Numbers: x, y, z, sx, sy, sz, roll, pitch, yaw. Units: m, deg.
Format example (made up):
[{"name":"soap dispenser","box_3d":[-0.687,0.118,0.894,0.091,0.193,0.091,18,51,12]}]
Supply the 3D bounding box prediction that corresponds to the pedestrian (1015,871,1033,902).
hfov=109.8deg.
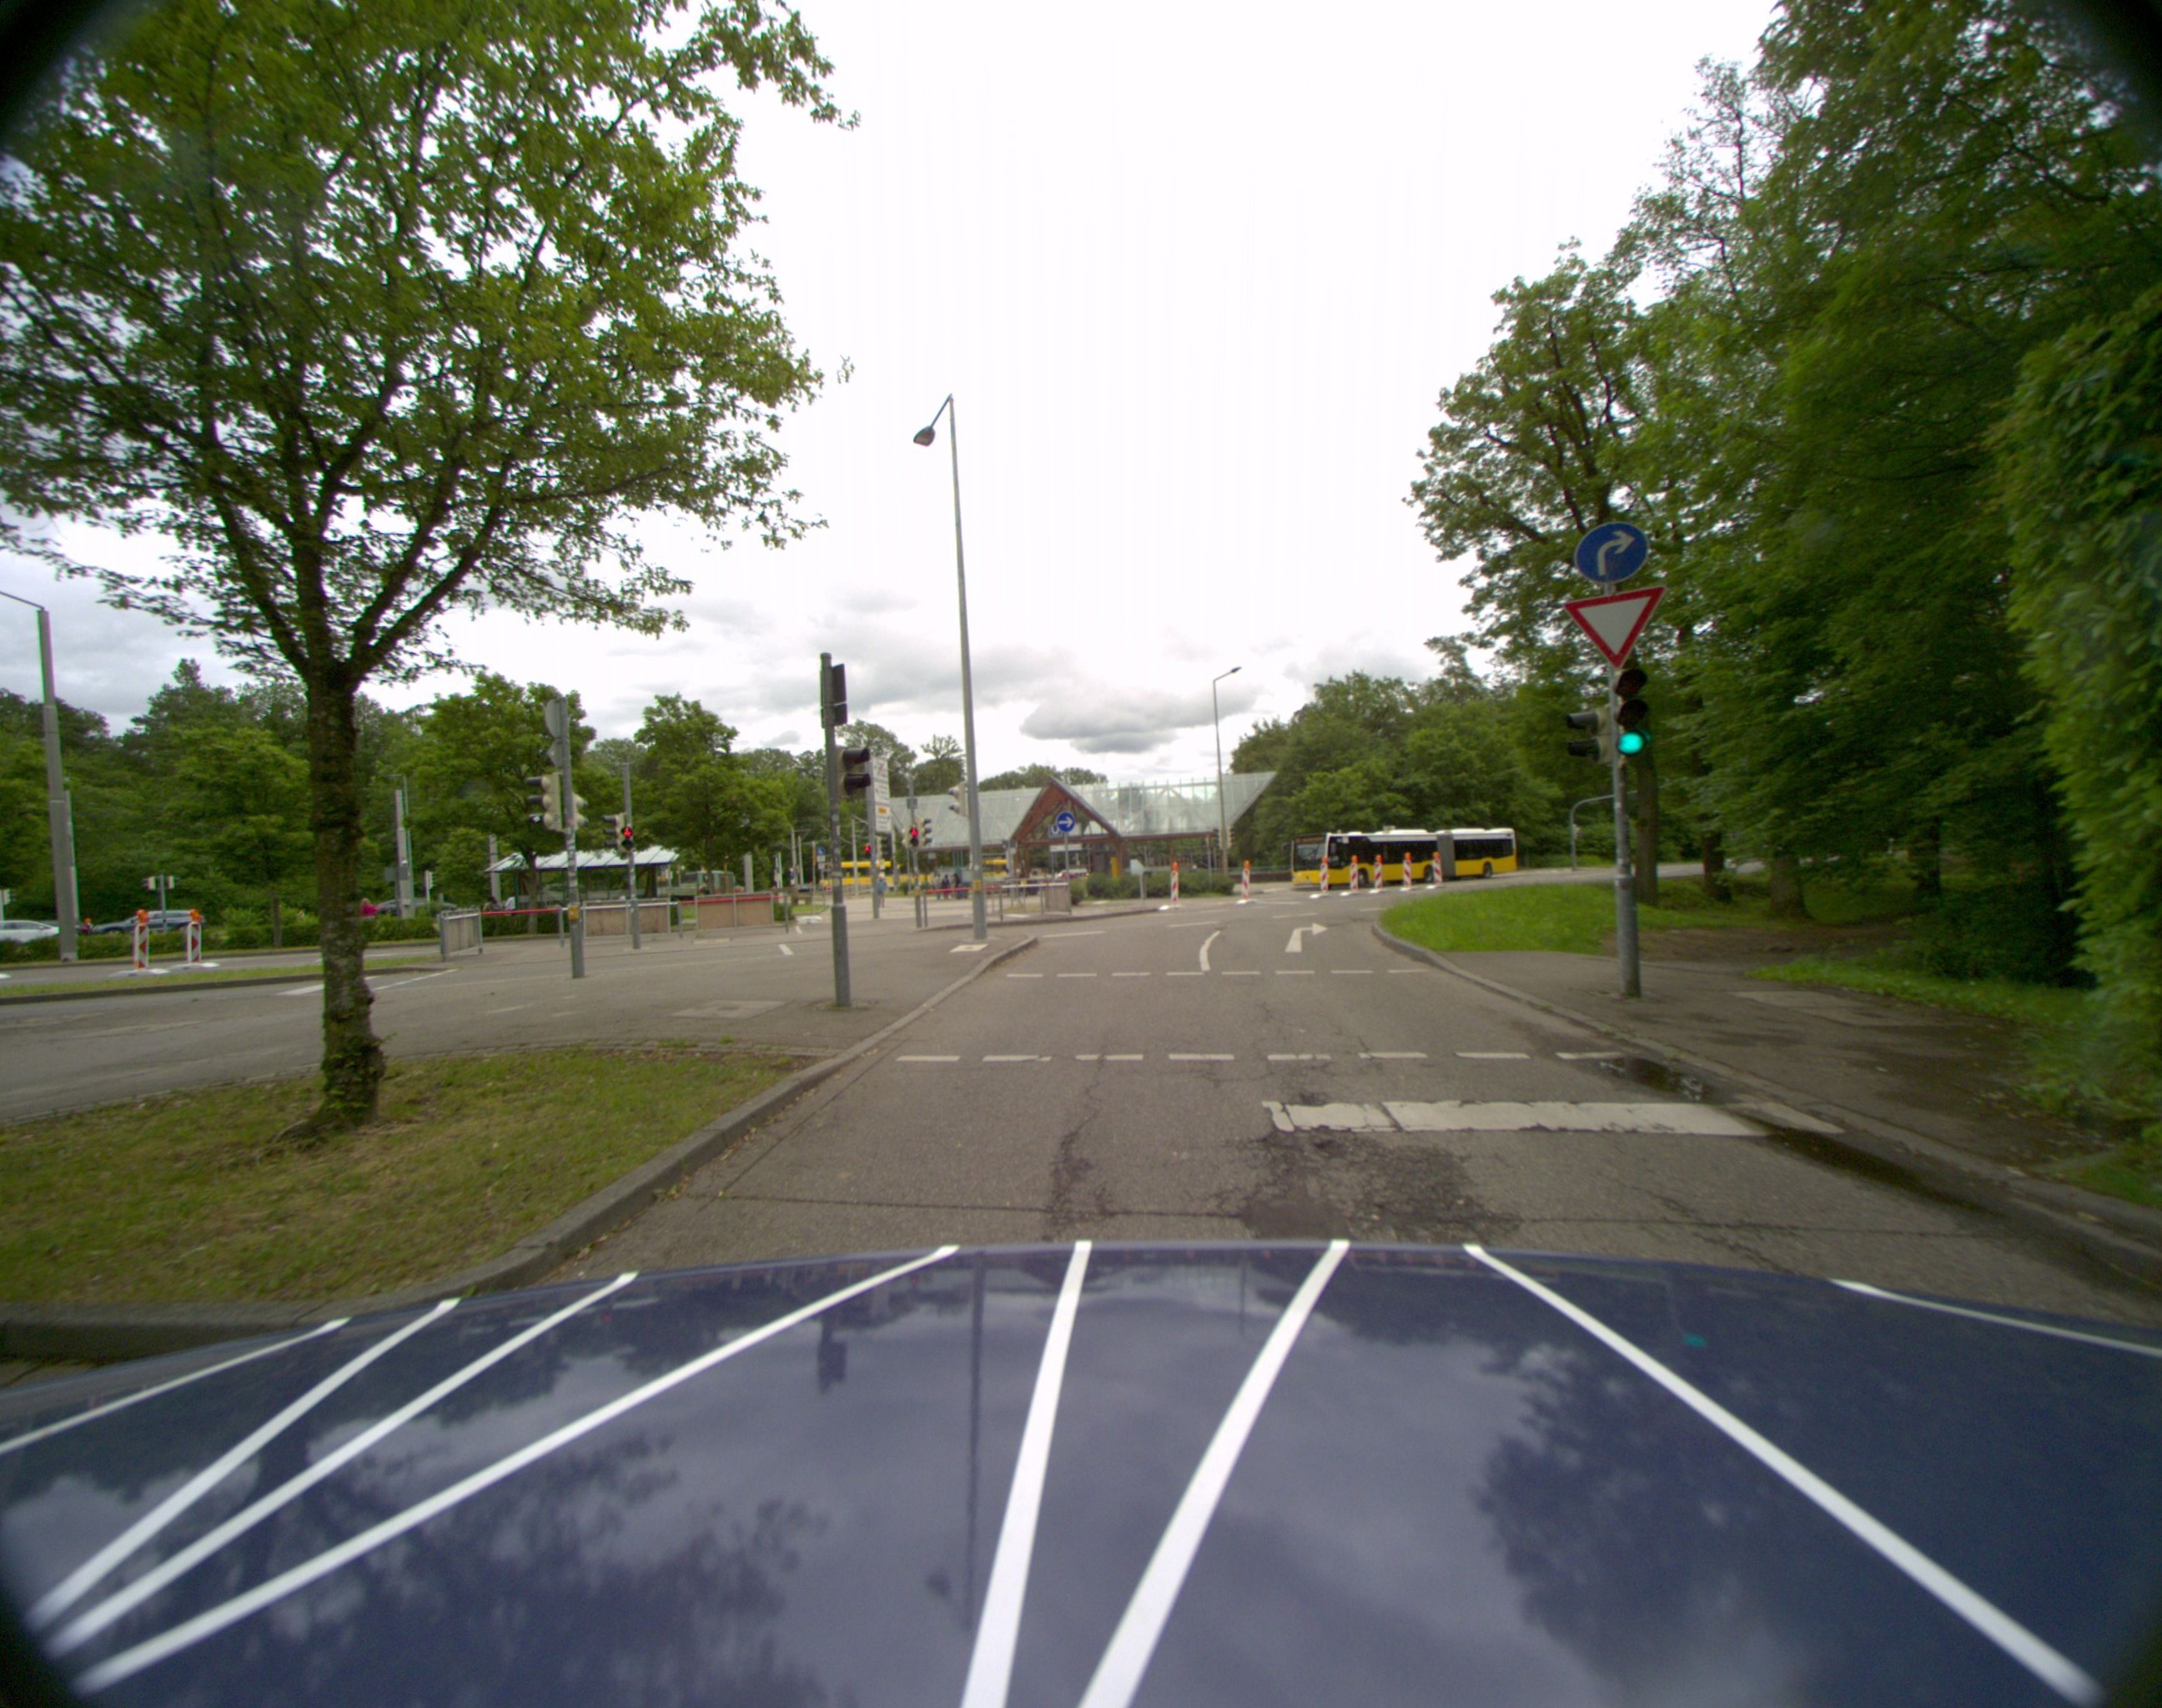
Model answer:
[{"name":"pedestrian","box_3d":[-3.290,1.854,43.782,0.667,1.747,0.657,-5,-2,22]}]

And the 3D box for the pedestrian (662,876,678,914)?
[{"name":"pedestrian","box_3d":[-16.991,1.704,31.417,0.480,1.507,0.522,-3,-2,-31]}]

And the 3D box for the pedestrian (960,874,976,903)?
[{"name":"pedestrian","box_3d":[-7.042,2.145,47.282,0.601,1.747,0.667,-3,-2,-37]}]

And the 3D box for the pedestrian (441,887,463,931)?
[{"name":"pedestrian","box_3d":[-45.198,3.951,54.594,1.116,3.025,1.024,-3,-2,-42]}]

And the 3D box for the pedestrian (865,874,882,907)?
[{"name":"pedestrian","box_3d":[-11.299,2.004,41.434,0.737,1.747,0.668,-4,-1,-13]}]

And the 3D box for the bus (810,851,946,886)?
[{"name":"bus","box_3d":[-23.324,1.553,89.874,3.970,3.461,18.611,-5,-2,26]}]

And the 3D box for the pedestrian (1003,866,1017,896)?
[{"name":"pedestrian","box_3d":[-4.270,1.618,45.921,0.656,1.747,0.668,-4,-1,-13]}]

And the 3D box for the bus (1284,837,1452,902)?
[{"name":"bus","box_3d":[16.235,0.800,42.479,10.535,3.139,2.806,-2,-2,-32]}]

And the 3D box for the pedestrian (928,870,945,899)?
[{"name":"pedestrian","box_3d":[-9.030,1.876,47.453,0.732,1.746,0.737,-4,-1,12]}]

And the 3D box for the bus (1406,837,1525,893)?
[{"name":"bus","box_3d":[24.002,0.663,47.310,7.769,3.139,2.806,-2,-2,-32]}]

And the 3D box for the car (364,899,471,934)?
[{"name":"car","box_3d":[-47.869,4.473,54.968,1.995,2.001,5.446,-5,-2,30]}]

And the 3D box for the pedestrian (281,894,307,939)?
[{"name":"pedestrian","box_3d":[-41.973,3.334,40.521,0.864,2.280,0.616,-3,-2,-42]}]

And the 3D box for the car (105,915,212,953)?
[{"name":"car","box_3d":[-58.289,5.017,48.069,1.995,2.001,4.008,-5,-2,30]}]

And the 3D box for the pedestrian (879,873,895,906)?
[{"name":"pedestrian","box_3d":[-10.663,1.965,41.857,0.737,1.747,0.668,-4,-1,-14]}]

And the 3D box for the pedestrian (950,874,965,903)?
[{"name":"pedestrian","box_3d":[-7.637,2.158,47.058,0.601,1.747,0.667,-3,-2,-37]}]

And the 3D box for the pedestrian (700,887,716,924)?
[{"name":"pedestrian","box_3d":[-15.746,2.159,32.062,0.480,1.507,0.522,-3,-2,-31]}]

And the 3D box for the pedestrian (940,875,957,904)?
[{"name":"pedestrian","box_3d":[-8.251,2.183,47.317,0.560,1.747,0.670,-5,-2,40]}]

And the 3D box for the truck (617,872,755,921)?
[{"name":"truck","box_3d":[-22.710,2.427,43.997,2.401,2.337,6.557,-5,-2,41]}]

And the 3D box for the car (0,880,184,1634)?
[{"name":"car","box_3d":[-4.769,1.007,1.079,4.530,1.683,2.166,-2,1,4]}]
